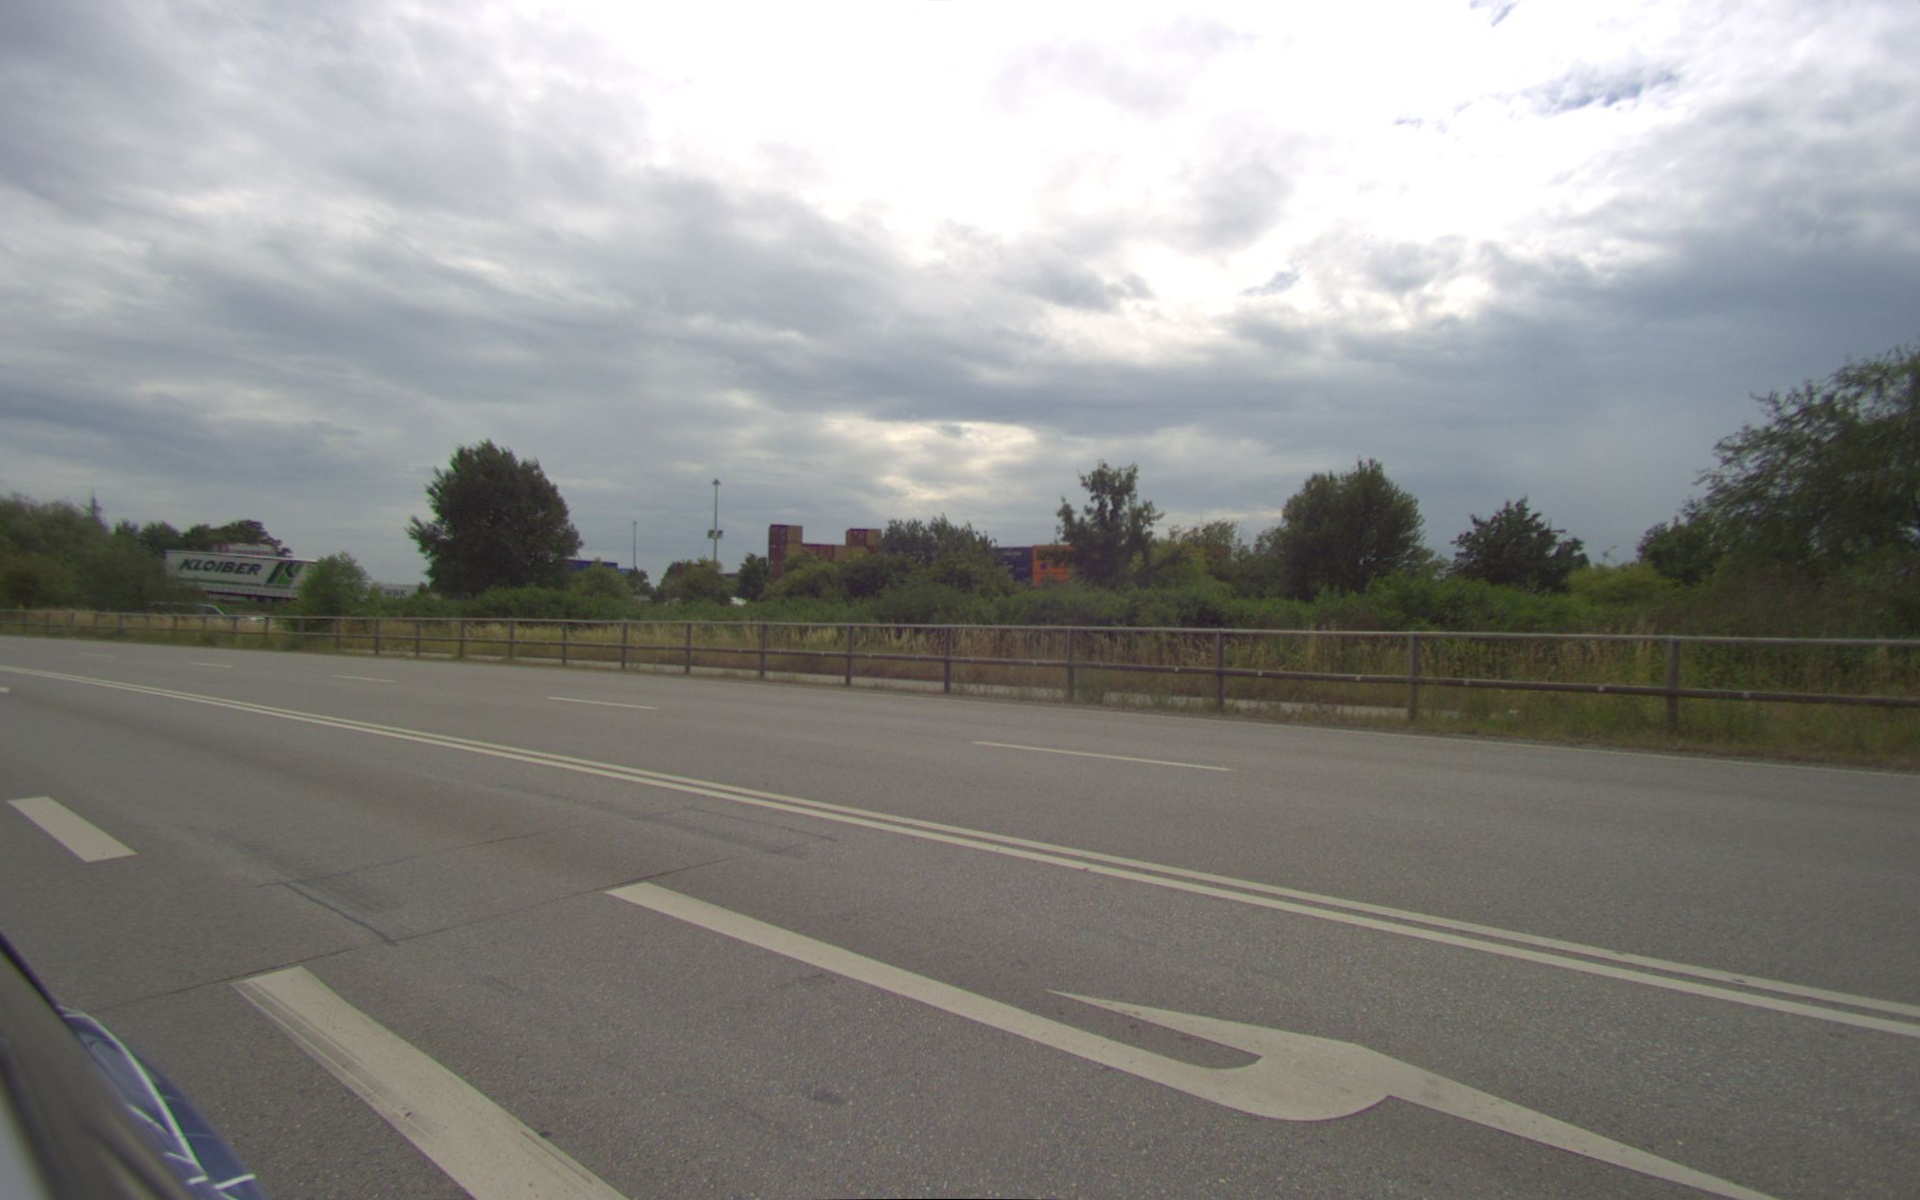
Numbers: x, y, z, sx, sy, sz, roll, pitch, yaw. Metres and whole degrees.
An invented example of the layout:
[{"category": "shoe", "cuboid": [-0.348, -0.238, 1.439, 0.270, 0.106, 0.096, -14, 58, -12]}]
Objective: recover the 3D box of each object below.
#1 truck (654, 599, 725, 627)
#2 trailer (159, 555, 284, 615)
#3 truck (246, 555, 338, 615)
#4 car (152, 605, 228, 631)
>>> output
[{"category": "truck", "cuboid": [-26.658, 1.252, 99.851, 6.548, 2.702, 2.658, 0, 0, -9]}, {"category": "trailer", "cuboid": [-63.345, -1.286, 86.943, 8.862, 5.034, 2.806, 0, 0, 2]}, {"category": "truck", "cuboid": [-57.179, -1.254, 86.743, 6.106, 5.034, 2.803, 0, 0, 2]}, {"category": "car", "cuboid": [-57.452, 1.338, 75.590, 4.473, 1.890, 2.004, 0, 0, -38]}]
